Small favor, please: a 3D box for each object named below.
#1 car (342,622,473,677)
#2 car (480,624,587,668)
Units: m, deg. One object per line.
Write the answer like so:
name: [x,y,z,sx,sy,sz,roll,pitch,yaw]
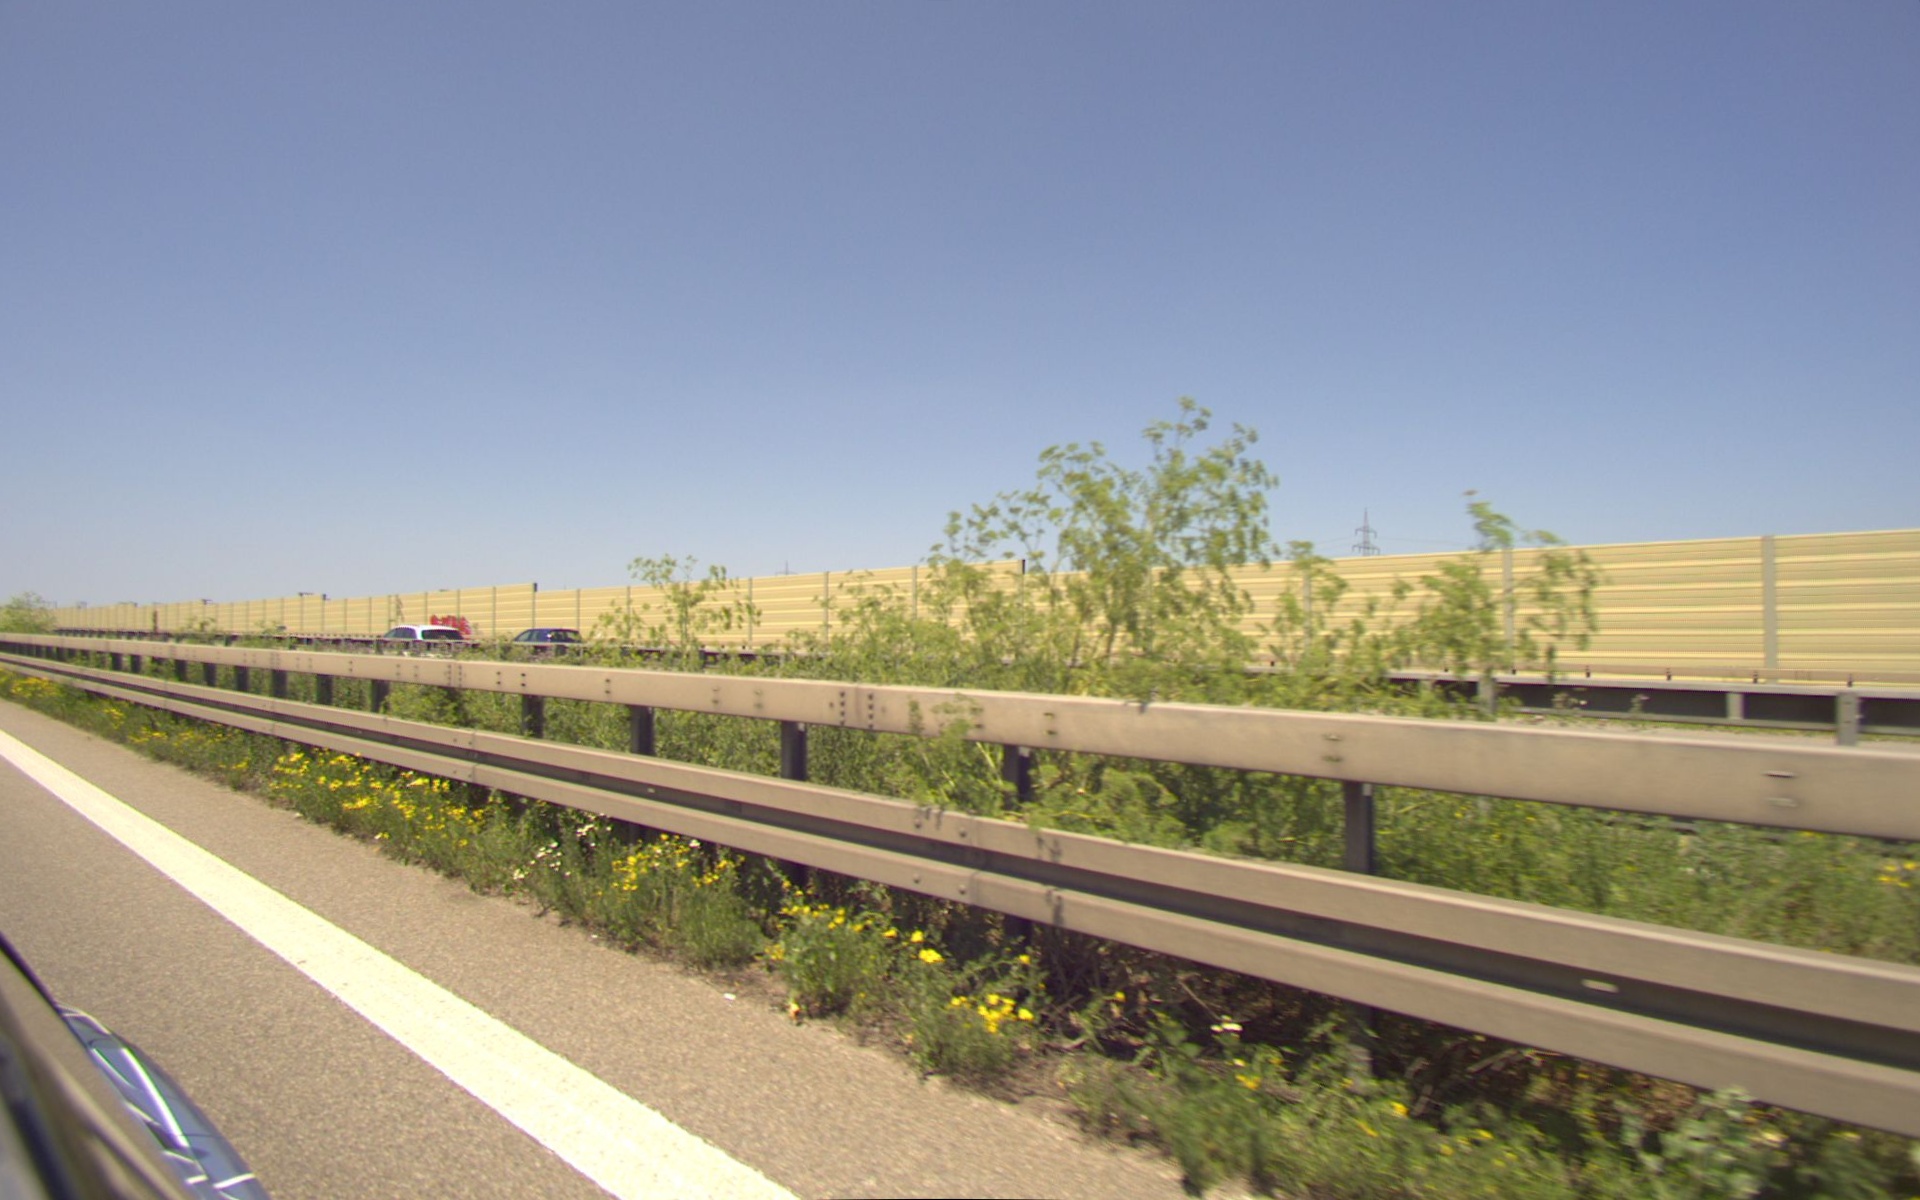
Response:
car: [-17.888,1.560,32.674,5.304,1.606,1.973,-1,-3,41]
car: [-15.078,1.575,35.684,4.482,1.420,1.700,-1,0,41]
